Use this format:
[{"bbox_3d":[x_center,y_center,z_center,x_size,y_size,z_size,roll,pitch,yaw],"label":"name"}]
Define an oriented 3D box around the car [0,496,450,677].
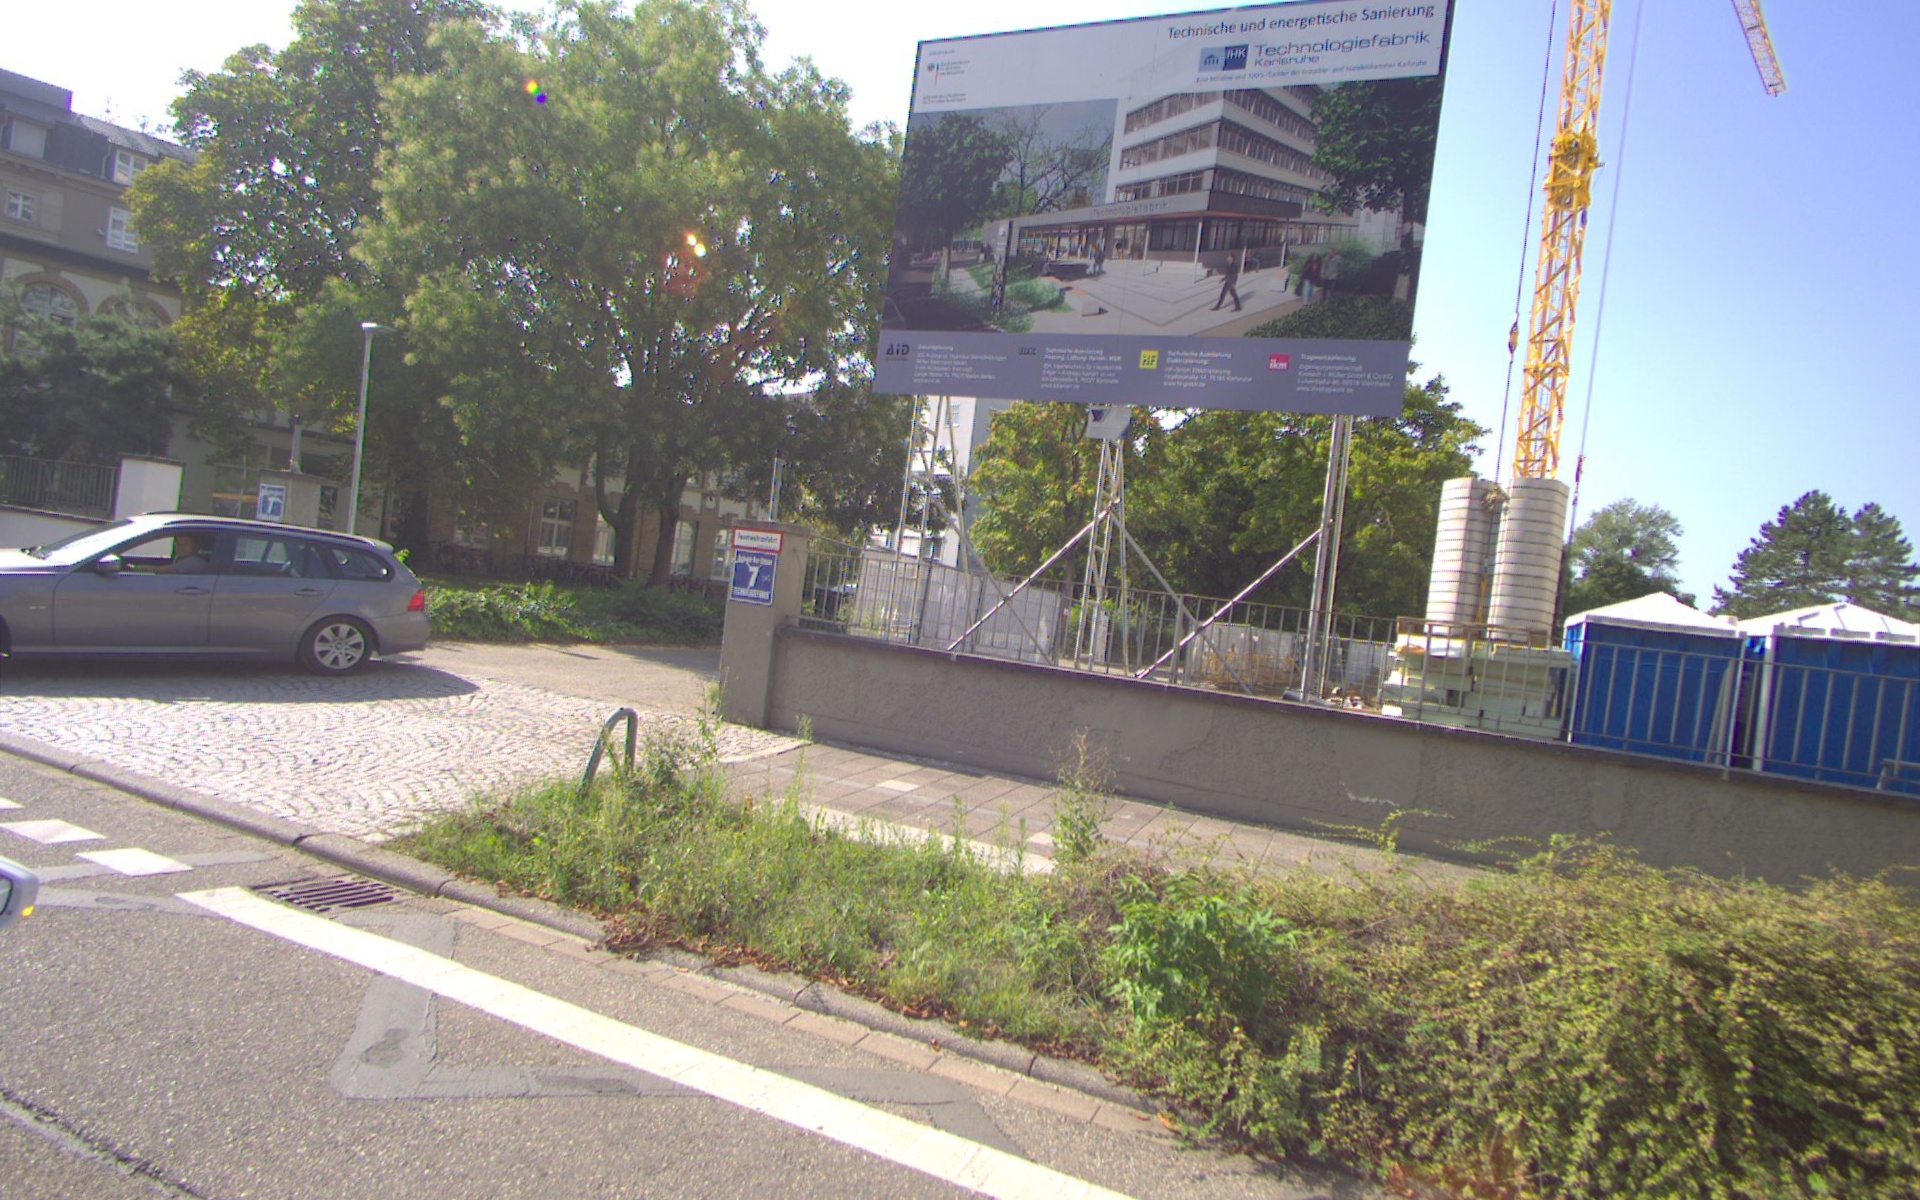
[{"bbox_3d":[-7.543,-0.101,9.570,1.780,1.428,4.411,7,2,41],"label":"car"}]
